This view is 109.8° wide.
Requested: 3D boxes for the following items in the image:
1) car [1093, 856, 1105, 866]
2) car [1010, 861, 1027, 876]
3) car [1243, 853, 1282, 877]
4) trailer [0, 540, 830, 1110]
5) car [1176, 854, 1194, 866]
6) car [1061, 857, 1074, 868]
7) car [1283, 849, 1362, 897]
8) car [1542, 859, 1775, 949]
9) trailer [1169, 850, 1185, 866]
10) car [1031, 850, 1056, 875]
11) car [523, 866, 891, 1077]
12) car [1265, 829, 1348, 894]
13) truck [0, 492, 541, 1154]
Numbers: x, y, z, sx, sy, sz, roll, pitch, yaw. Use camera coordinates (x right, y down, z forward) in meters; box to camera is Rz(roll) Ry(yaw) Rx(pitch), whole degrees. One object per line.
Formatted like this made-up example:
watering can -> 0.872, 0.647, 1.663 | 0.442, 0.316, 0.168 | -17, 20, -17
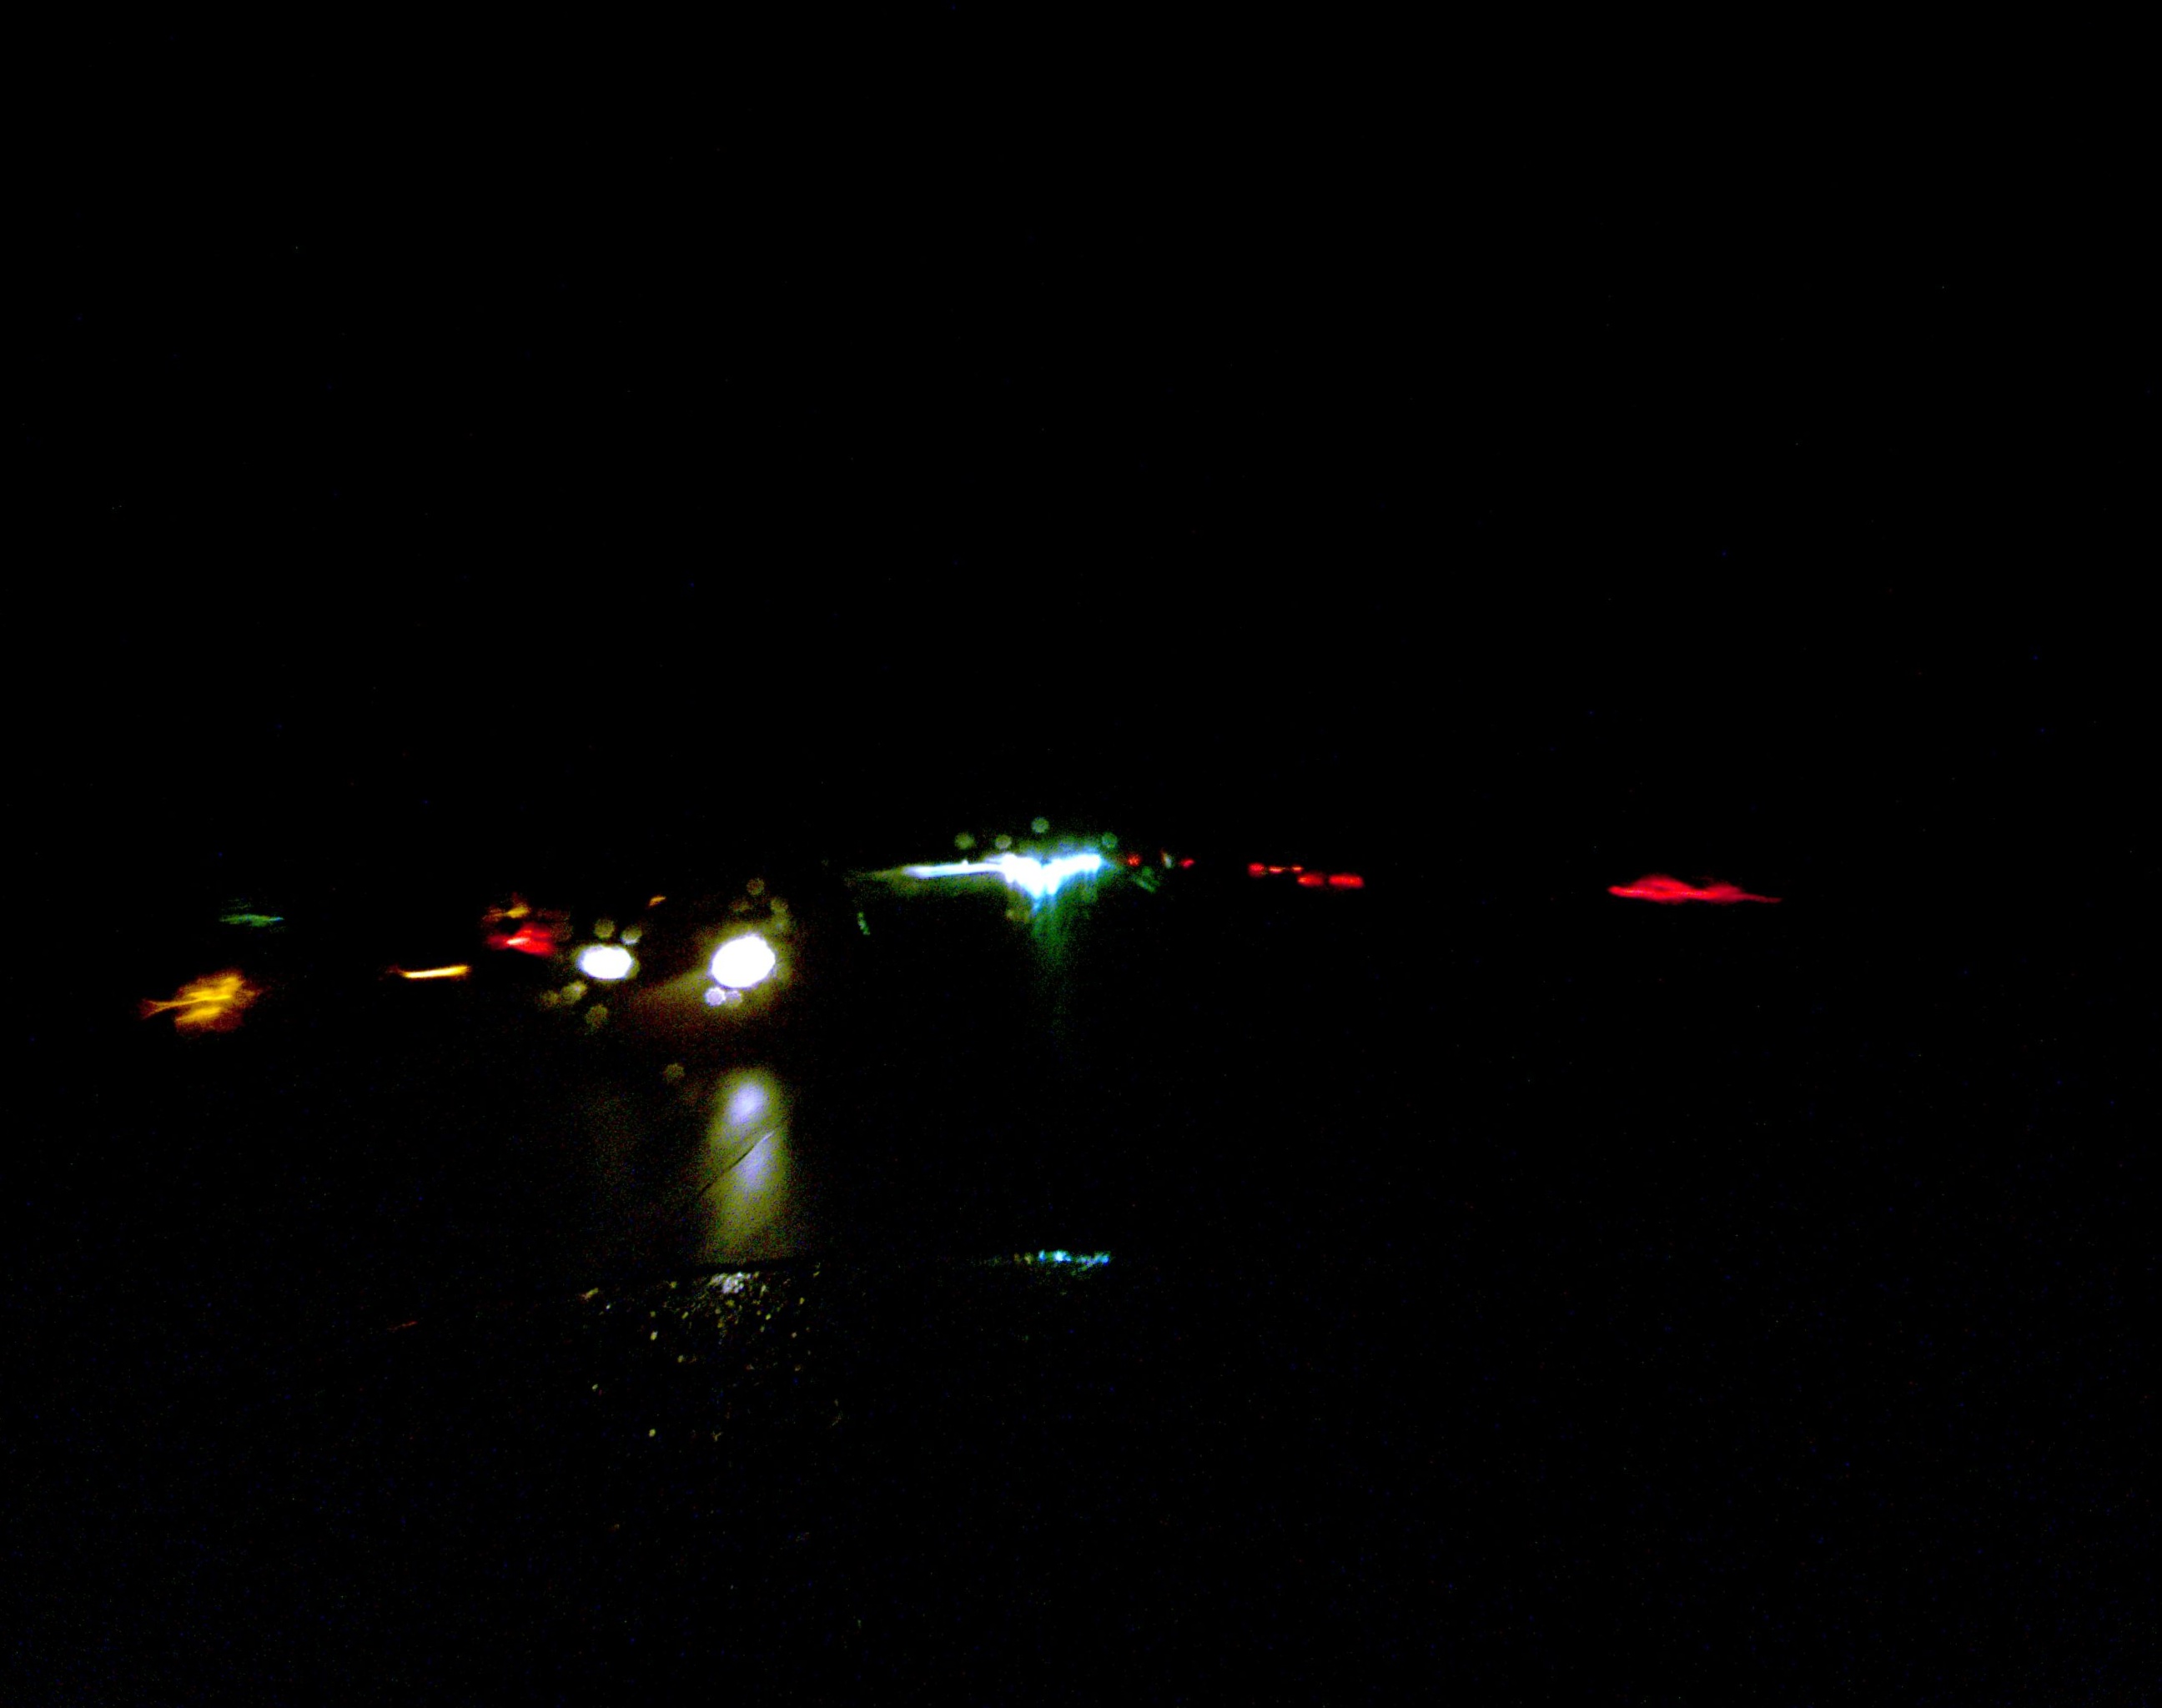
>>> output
car -> 3.324, 1.321, 140.616 | 1.883, 1.653, 4.001 | -3, -1, -1
car -> -6.786, 1.558, 82.420 | 1.644, 1.494, 4.013 | -1, -1, -2
car -> 13.333, 0.768, 56.002 | 1.921, 1.674, 3.999 | 0, 1, 1
trailer -> -8.081, -0.187, 12.691 | 2.910, 4.084, 14.487 | 0, 0, 0
car -> 14.327, 0.837, 105.100 | 1.998, 1.653, 4.809 | 0, 0, 1
car -> -2.186, 1.361, 121.523 | 1.883, 1.653, 4.001 | -3, -1, -1
car -> 9.380, 0.681, 29.860 | 1.921, 1.674, 3.999 | 0, 1, 1
car -> 12.866, 1.019, 17.387 | 1.921, 1.674, 4.506 | 1, 1, 1
trailer -> 24.076, 1.035, 190.485 | 2.864, 3.877, 8.705 | -1, 0, -1
car -> -3.164, 0.735, 64.678 | 1.999, 2.001, 3.999 | -2, -1, -2
car -> -3.564, 0.983, 8.347 | 1.745, 1.566, 4.494 | -1, 0, 1
car -> 18.055, 0.633, 61.829 | 3.714, 4.700, 10.598 | -2, -1, 1
truck -> -8.120, -0.187, 6.315 | 2.910, 4.084, 6.030 | 0, 0, 0
